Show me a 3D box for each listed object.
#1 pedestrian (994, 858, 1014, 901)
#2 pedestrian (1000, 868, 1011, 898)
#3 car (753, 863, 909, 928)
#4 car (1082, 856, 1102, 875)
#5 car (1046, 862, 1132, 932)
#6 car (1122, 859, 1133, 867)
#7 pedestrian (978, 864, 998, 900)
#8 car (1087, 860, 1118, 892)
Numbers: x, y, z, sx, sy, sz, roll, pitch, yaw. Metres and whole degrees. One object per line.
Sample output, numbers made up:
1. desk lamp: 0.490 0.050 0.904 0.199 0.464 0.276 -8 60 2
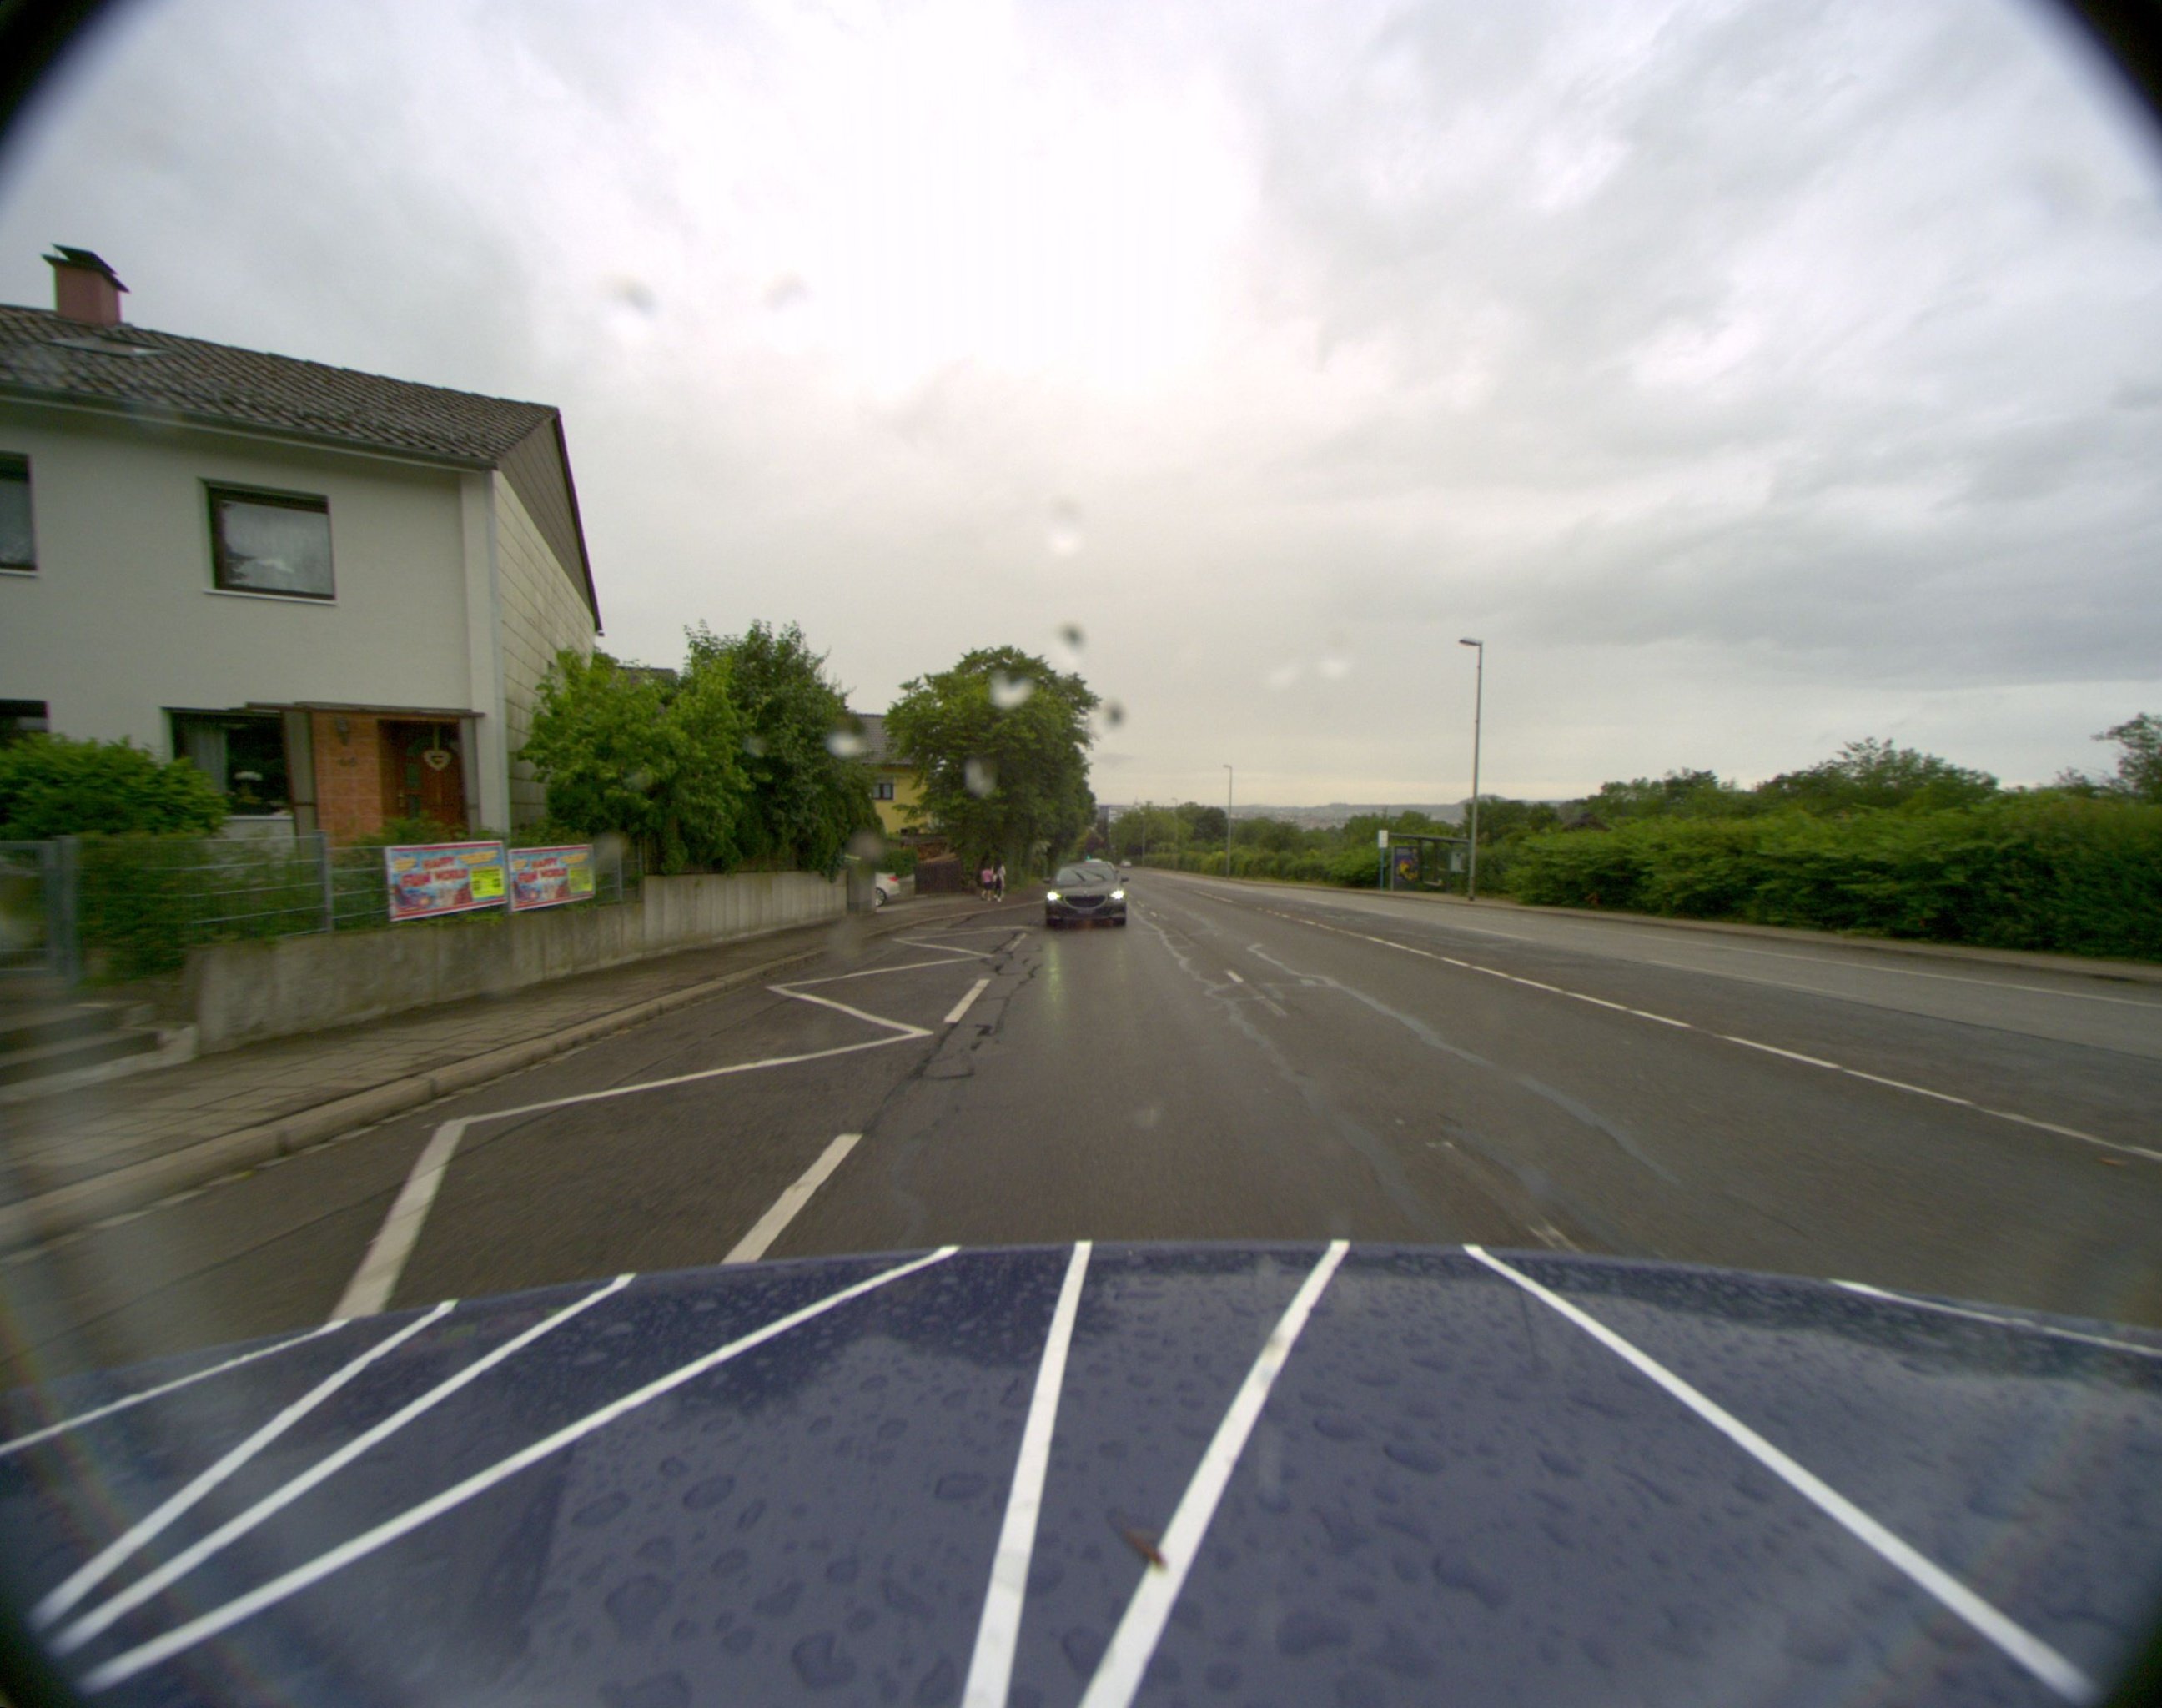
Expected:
1. pedestrian: -2.885 0.936 28.414 0.611 1.584 0.646 0 0 9
2. pedestrian: -2.949 1.127 29.685 0.368 1.140 0.366 0 0 9
3. car: -8.434 1.328 25.755 4.608 1.413 1.786 -9 5 -28
4. car: 1.051 0.999 69.572 1.702 1.670 4.284 0 0 3
5. car: 0.084 0.980 19.027 1.846 1.371 4.281 -3 1 -3
6. car: 9.283 1.789 151.282 1.761 1.559 4.000 1 0 -1
7. pedestrian: -3.492 1.043 28.501 0.603 1.347 0.646 0 0 9
8. car: 1.120 1.114 39.418 1.550 1.505 4.283 0 0 2
